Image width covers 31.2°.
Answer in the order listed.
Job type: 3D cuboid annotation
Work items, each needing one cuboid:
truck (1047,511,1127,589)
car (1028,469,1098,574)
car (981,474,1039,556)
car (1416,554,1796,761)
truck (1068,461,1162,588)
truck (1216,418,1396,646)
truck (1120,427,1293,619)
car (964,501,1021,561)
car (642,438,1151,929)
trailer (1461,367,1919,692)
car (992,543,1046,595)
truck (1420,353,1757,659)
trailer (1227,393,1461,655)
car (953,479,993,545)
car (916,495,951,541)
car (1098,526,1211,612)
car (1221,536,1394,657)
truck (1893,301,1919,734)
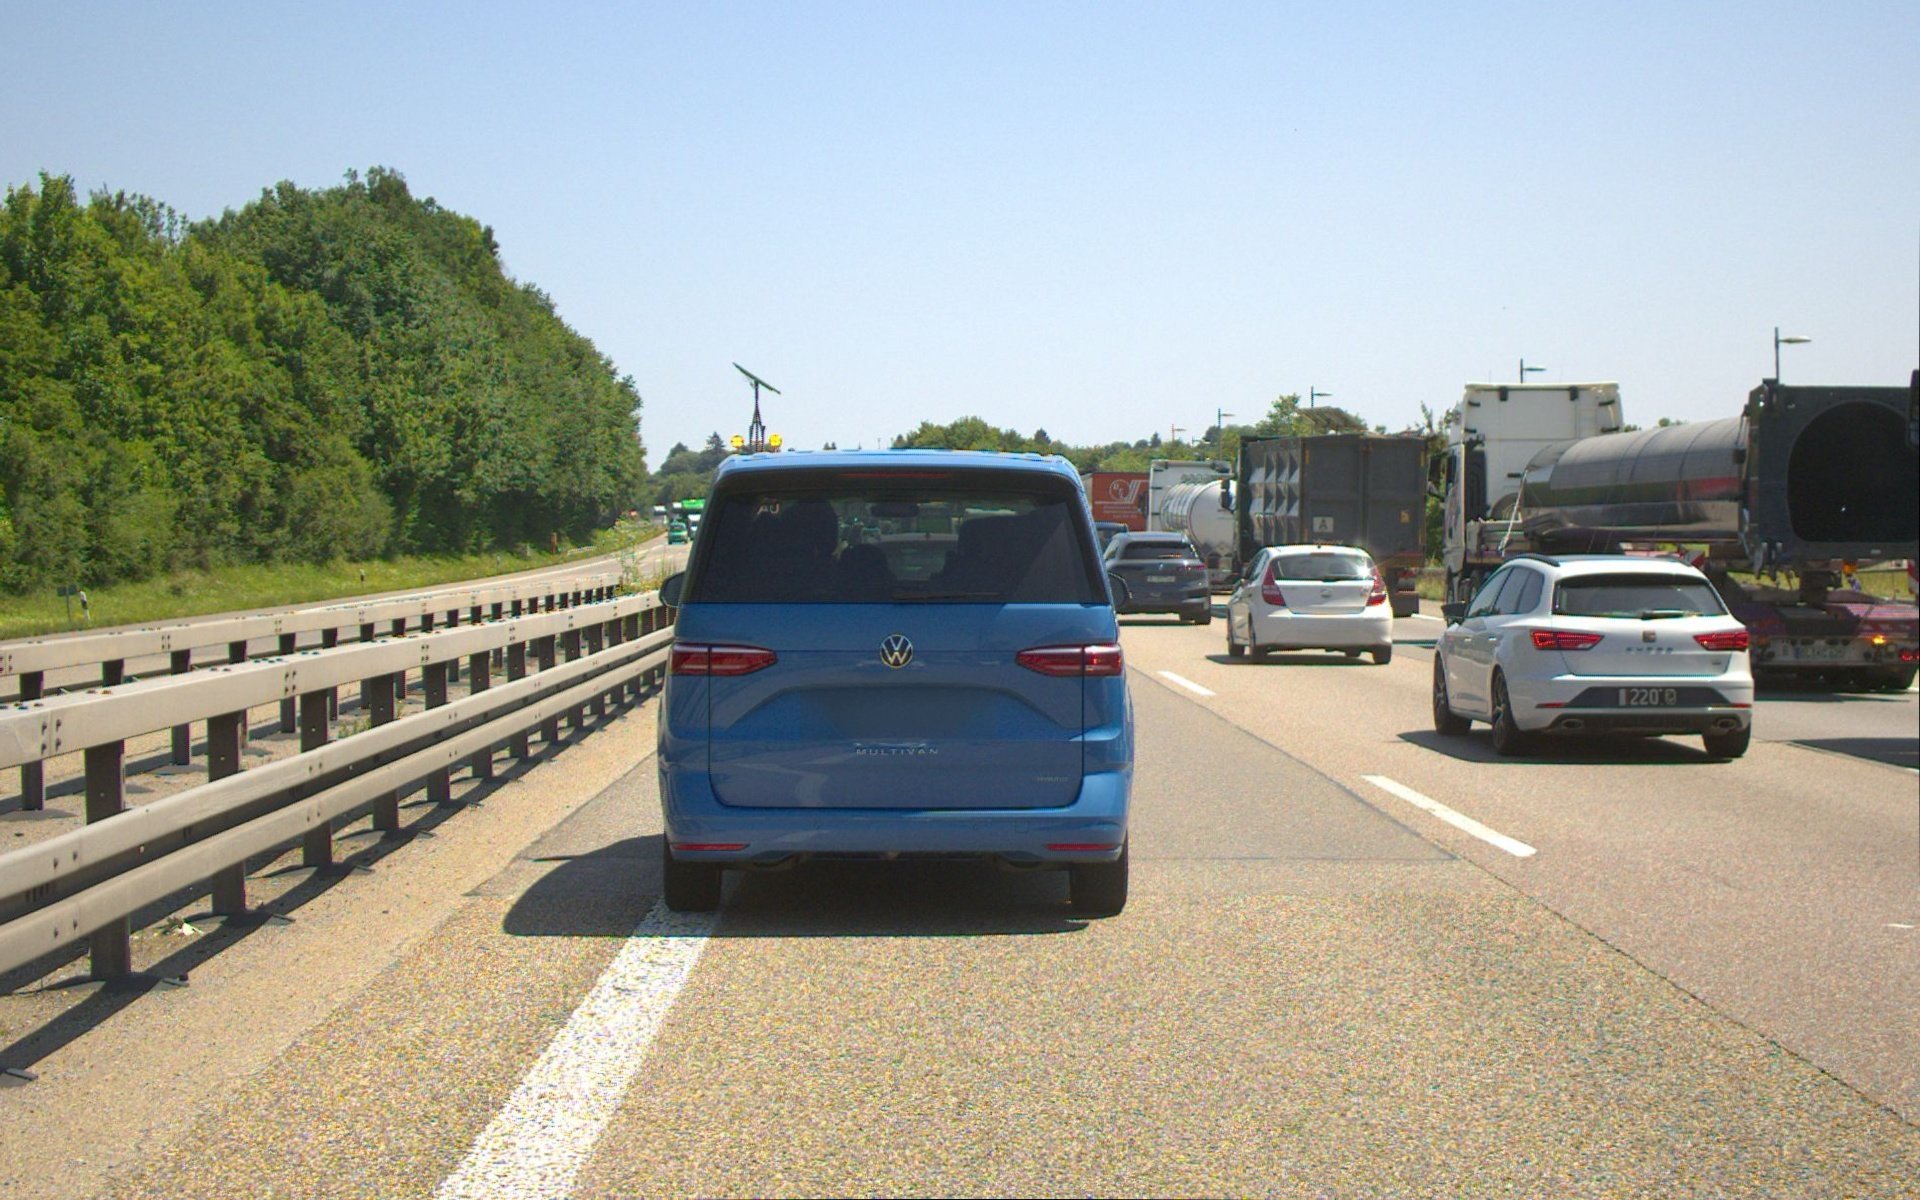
[{"bbox_3d":[3.070,-1.200,84.005,1.725,1.851,4.000,1,0,-1],"label":"truck"},{"bbox_3d":[5.282,-4.001,177.784,3.218,5.239,8.144,1,0,0],"label":"car"},{"bbox_3d":[3.324,-5.624,229.061,3.218,5.239,8.145,1,0,-3],"label":"car"},{"bbox_3d":[4.625,0.364,25.198,1.867,1.356,4.001,1,1,-2],"label":"car"},{"bbox_3d":[6.158,-2.946,138.283,3.068,4.903,10.691,1,0,-1],"label":"truck"},{"bbox_3d":[8.105,-1.564,81.346,3.658,5.162,5.708,1,0,1],"label":"truck"},{"bbox_3d":[7.105,-2.144,101.766,3.621,5.195,15.690,1,0,-1],"label":"truck"},{"bbox_3d":[1.523,-3.263,163.399,2.550,2.708,5.621,1,0,-1],"label":"car"},{"bbox_3d":[-0.216,0.307,15.013,1.901,1.831,4.000,1,0,1],"label":"car"},{"bbox_3d":[8.763,-0.701,40.641,3.646,3.068,15.771,1,0,1],"label":"trailer"},{"bbox_3d":[2.311,-1.216,136.055,1.993,2.007,4.000,1,0,-1],"label":"car"},{"bbox_3d":[8.996,-1.289,50.256,3.626,4.080,7.524,1,0,1],"label":"truck"},{"bbox_3d":[8.087,-1.536,74.447,3.646,5.119,13.075,1,0,1],"label":"trailer"},{"bbox_3d":[0.948,-6.581,259.518,2.716,4.697,11.561,1,0,-1],"label":"car"},{"bbox_3d":[-1.906,-5.921,250.137,2.486,3.193,7.372,1,0,0],"label":"car"},{"bbox_3d":[3.569,-0.569,63.584,1.781,1.519,4.000,1,0,-1],"label":"car"},{"bbox_3d":[4.399,-0.052,44.017,1.840,1.449,4.000,1,0,1],"label":"car"},{"bbox_3d":[8.707,-0.567,23.275,2.743,3.300,7.133,1,1,0],"label":"truck"}]
